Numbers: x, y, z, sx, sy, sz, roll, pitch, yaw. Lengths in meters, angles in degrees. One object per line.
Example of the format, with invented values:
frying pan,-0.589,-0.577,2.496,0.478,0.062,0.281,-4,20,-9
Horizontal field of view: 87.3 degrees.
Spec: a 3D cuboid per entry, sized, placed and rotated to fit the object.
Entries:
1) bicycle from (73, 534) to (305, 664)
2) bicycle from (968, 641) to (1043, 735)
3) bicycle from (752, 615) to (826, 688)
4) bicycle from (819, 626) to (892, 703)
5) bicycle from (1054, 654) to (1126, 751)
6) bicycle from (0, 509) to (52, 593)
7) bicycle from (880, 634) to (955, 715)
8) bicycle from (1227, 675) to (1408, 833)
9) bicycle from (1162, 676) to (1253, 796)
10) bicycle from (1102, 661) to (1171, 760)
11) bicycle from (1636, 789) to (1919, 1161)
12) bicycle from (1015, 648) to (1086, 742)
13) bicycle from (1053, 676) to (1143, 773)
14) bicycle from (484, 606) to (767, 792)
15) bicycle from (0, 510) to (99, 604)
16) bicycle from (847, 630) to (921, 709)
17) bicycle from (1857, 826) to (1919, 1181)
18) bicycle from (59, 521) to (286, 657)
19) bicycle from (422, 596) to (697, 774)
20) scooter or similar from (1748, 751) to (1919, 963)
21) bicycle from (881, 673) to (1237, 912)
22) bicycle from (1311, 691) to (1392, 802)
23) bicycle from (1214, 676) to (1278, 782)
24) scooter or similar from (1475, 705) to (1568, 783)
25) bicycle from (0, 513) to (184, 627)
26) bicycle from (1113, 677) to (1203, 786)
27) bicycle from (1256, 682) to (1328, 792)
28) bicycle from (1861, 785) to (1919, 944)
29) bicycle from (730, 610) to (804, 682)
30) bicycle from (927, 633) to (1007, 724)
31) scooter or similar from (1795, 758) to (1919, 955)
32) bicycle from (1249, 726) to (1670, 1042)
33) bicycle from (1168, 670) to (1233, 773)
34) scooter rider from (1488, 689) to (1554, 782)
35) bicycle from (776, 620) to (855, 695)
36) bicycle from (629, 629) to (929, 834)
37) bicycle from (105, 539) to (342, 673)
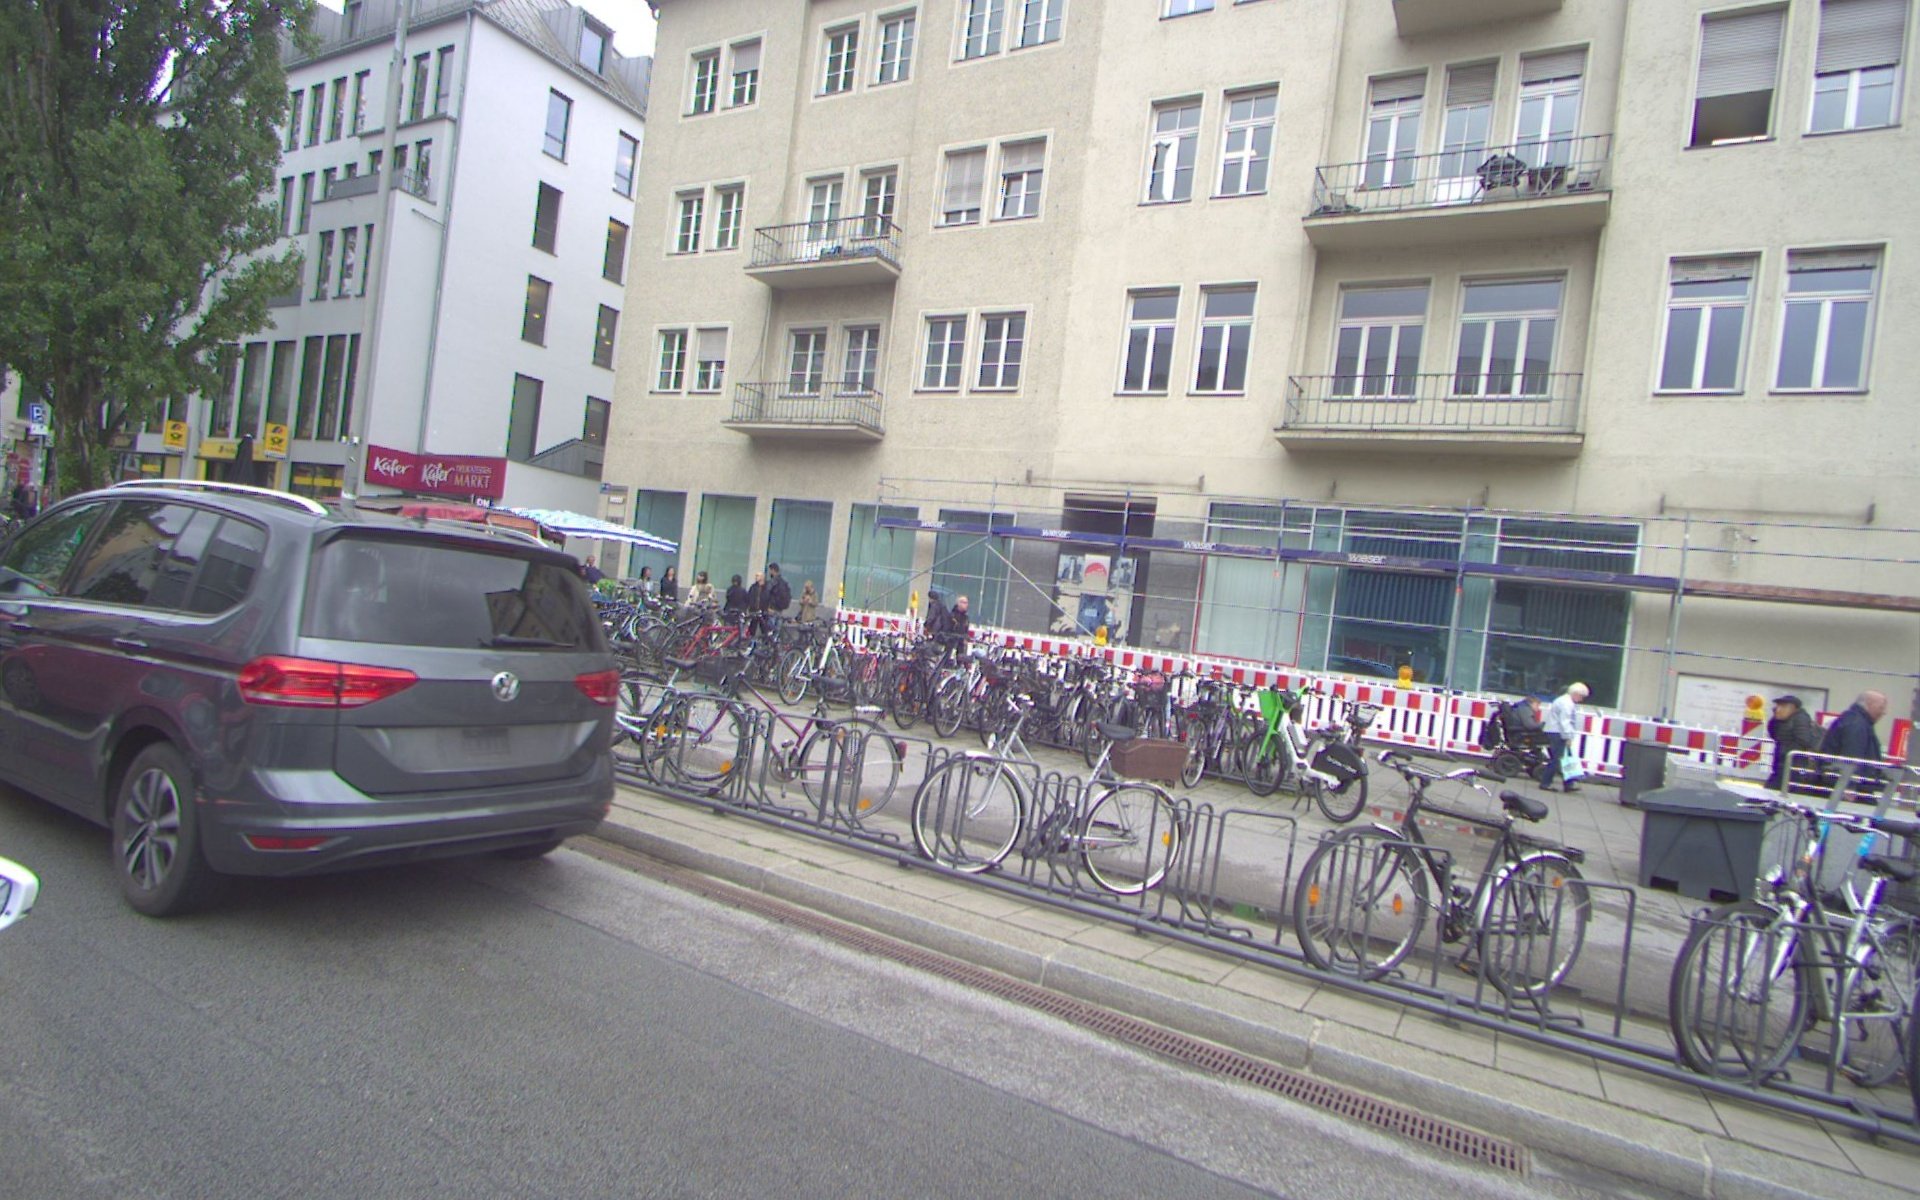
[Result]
bicycle,-8.282,-0.001,10.889,1.810,1.150,0.584,7,0,-17
bicycle,0.603,1.103,12.824,0.362,1.088,1.331,7,0,24
bicycle,-2.503,0.759,14.802,0.362,0.993,1.247,7,0,22
bicycle,-1.454,0.902,14.141,0.362,0.993,1.247,7,0,22
bicycle,1.622,1.233,12.410,0.362,1.088,1.430,7,0,24
bicycle,-14.311,-0.793,14.367,1.814,1.150,0.583,7,0,-24
bicycle,-0.550,0.982,13.394,0.362,0.993,1.247,7,0,24
bicycle,3.311,1.399,9.483,0.365,1.156,1.712,6,0,-26
bicycle,2.531,1.342,10.201,0.363,1.090,1.419,7,0,32
bicycle,2.157,1.302,12.176,0.362,1.088,1.430,7,0,24
bicycle,3.537,1.419,4.064,1.785,1.172,0.483,7,0,-29
bicycle,1.163,1.179,12.718,0.362,1.088,1.331,7,0,24
bicycle,1.485,1.294,10.680,0.363,0.926,1.294,7,0,32
bicycle,-2.402,0.724,7.363,1.778,1.125,0.584,7,0,-17
bicycle,-13.040,-0.634,13.699,1.814,1.150,0.583,7,0,-24
bicycle,-1.022,0.950,13.780,0.362,0.993,1.247,7,0,24
bicycle,4.114,1.494,3.783,1.786,1.172,0.483,7,0,-31
bicycle,-8.787,-0.111,11.305,1.810,1.256,0.584,7,0,-17
bicycle,-2.986,0.651,7.652,1.778,1.125,0.489,7,0,-17
scooter or similar,6.233,1.739,6.758,0.361,1.190,1.337,6,1,-28
bicycle,0.563,1.085,5.646,1.781,1.125,0.648,7,0,-23
bicycle,4.373,1.585,11.186,0.444,1.088,1.552,7,0,32
bicycle,3.330,1.449,11.647,0.362,1.088,1.554,7,0,24
scooter or similar,8.422,2.147,15.119,1.106,0.956,0.535,7,2,29
bicycle,-10.758,-0.359,12.313,1.814,1.150,0.583,7,0,-24
bicycle,2.061,1.326,10.386,0.363,1.012,1.316,7,0,32
bicycle,3.780,1.506,11.392,0.443,1.088,1.553,7,0,26
bicycle,7.297,1.989,7.563,0.363,0.976,1.756,7,0,31
bicycle,-2.883,0.696,15.118,0.362,0.993,1.247,7,0,22
bicycle,0.112,1.026,13.309,0.362,1.088,1.504,7,0,24
scooter or similar,6.579,1.790,6.827,0.298,1.190,1.268,6,1,-28
bicycle,2.329,1.279,4.668,1.782,1.172,0.648,7,0,-24
bicycle,2.849,1.389,11.831,0.362,1.088,1.430,7,0,24
scooter rider,8.423,2.019,15.115,0.707,1.235,0.686,7,2,29
bicycle,-2.050,0.826,14.382,0.363,0.993,1.246,7,0,28
bicycle,-1.193,0.872,6.666,1.778,1.125,0.560,7,0,-18
bicycle,-7.635,0.071,10.519,1.810,1.150,0.584,7,0,-17
